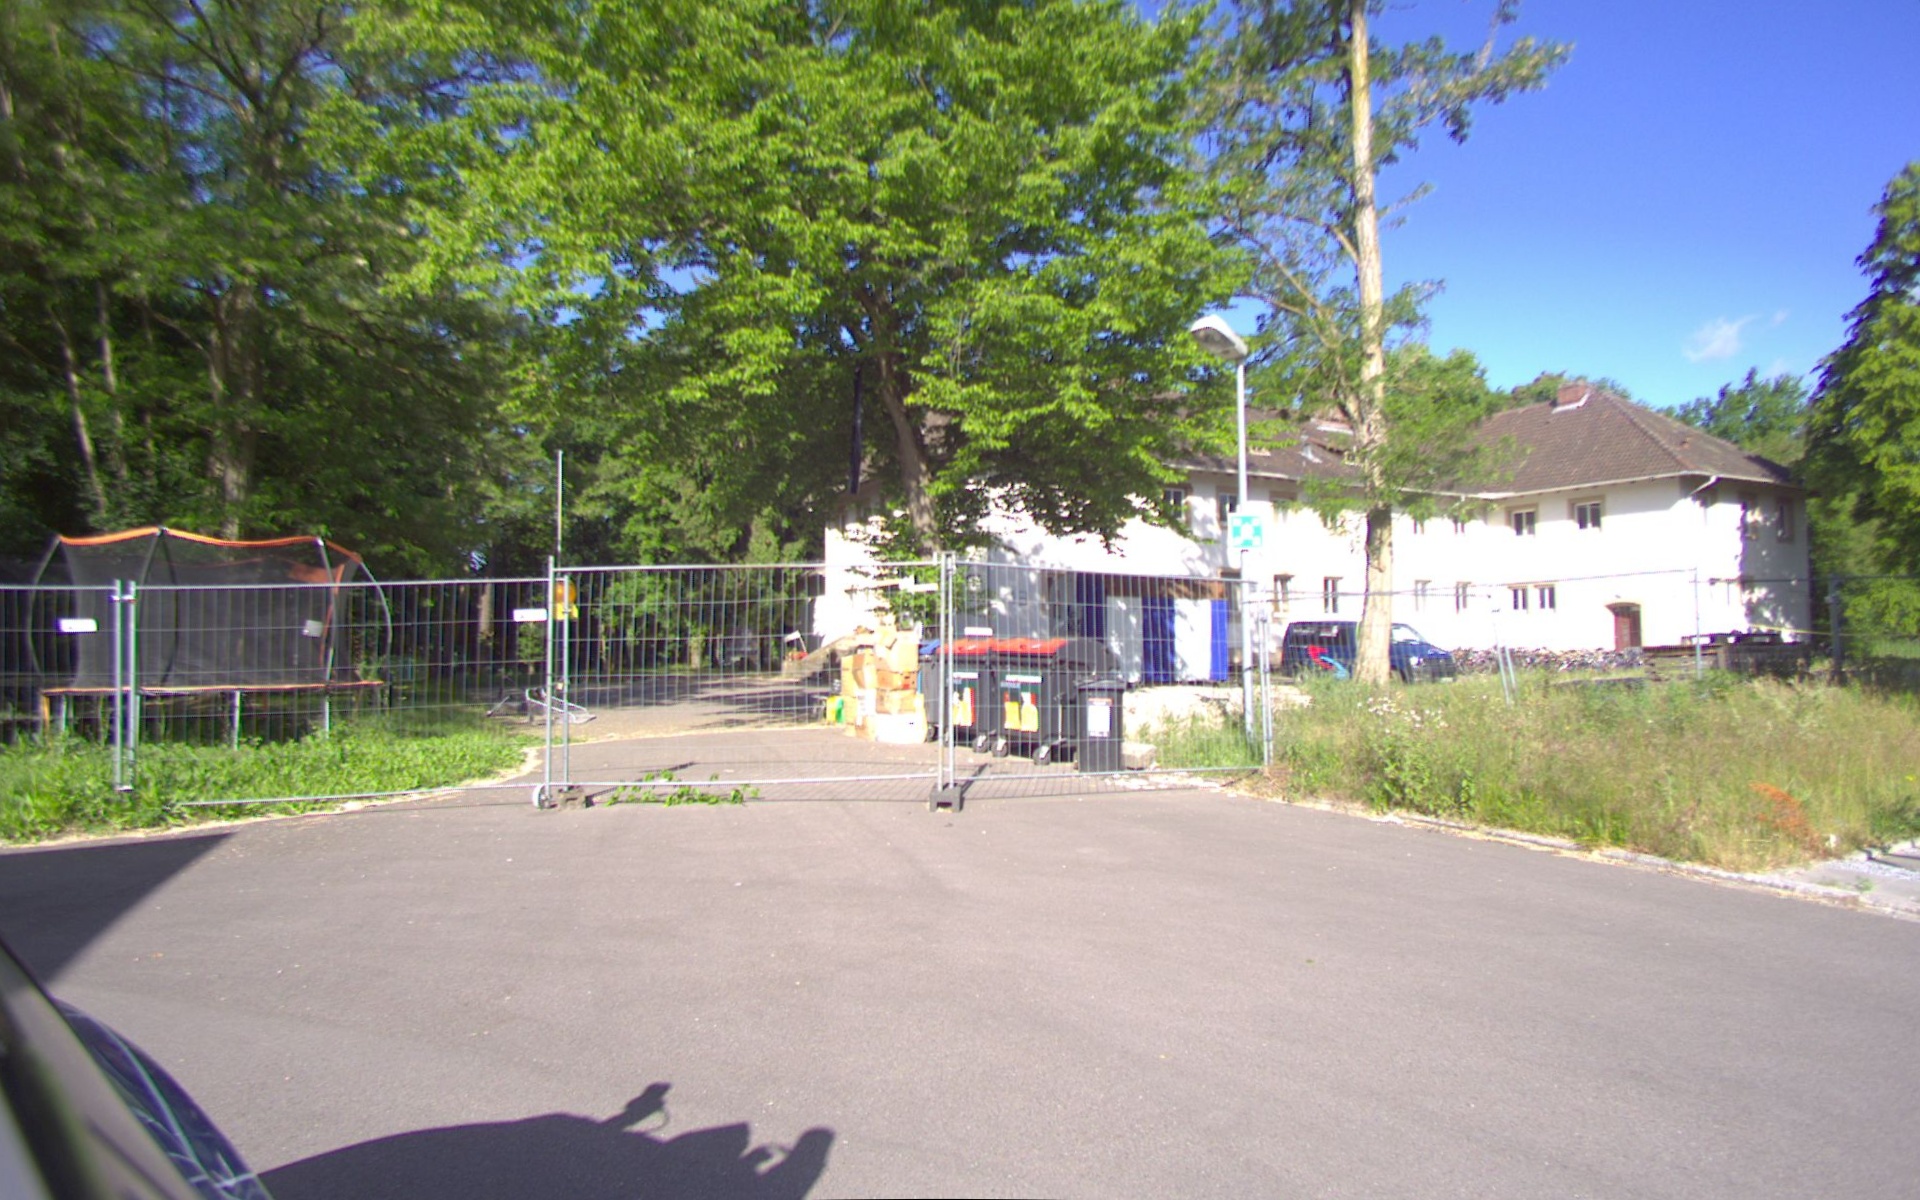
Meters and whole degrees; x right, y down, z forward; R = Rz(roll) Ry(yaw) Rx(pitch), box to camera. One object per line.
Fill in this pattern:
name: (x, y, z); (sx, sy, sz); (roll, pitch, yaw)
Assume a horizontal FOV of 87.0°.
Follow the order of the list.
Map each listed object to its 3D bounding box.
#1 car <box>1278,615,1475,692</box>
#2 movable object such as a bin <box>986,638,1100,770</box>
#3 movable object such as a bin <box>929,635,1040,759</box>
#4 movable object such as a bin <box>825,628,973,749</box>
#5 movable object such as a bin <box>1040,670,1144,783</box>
car: (11.320, 1.484, 27.844); (1.966, 1.917, 4.738); (3, -4, -32)
movable object such as a bin: (0.956, 1.177, 11.864); (0.691, 1.455, 1.252); (1, -3, -33)
movable object such as a bin: (0.294, 1.209, 13.038); (0.793, 1.495, 1.345); (1, -3, -34)
movable object such as a bin: (-0.936, 1.235, 14.744); (1.155, 1.603, 2.301); (1, -3, -34)
movable object such as a bin: (1.395, 1.316, 10.745); (0.805, 1.106, 0.741); (1, -3, -24)
